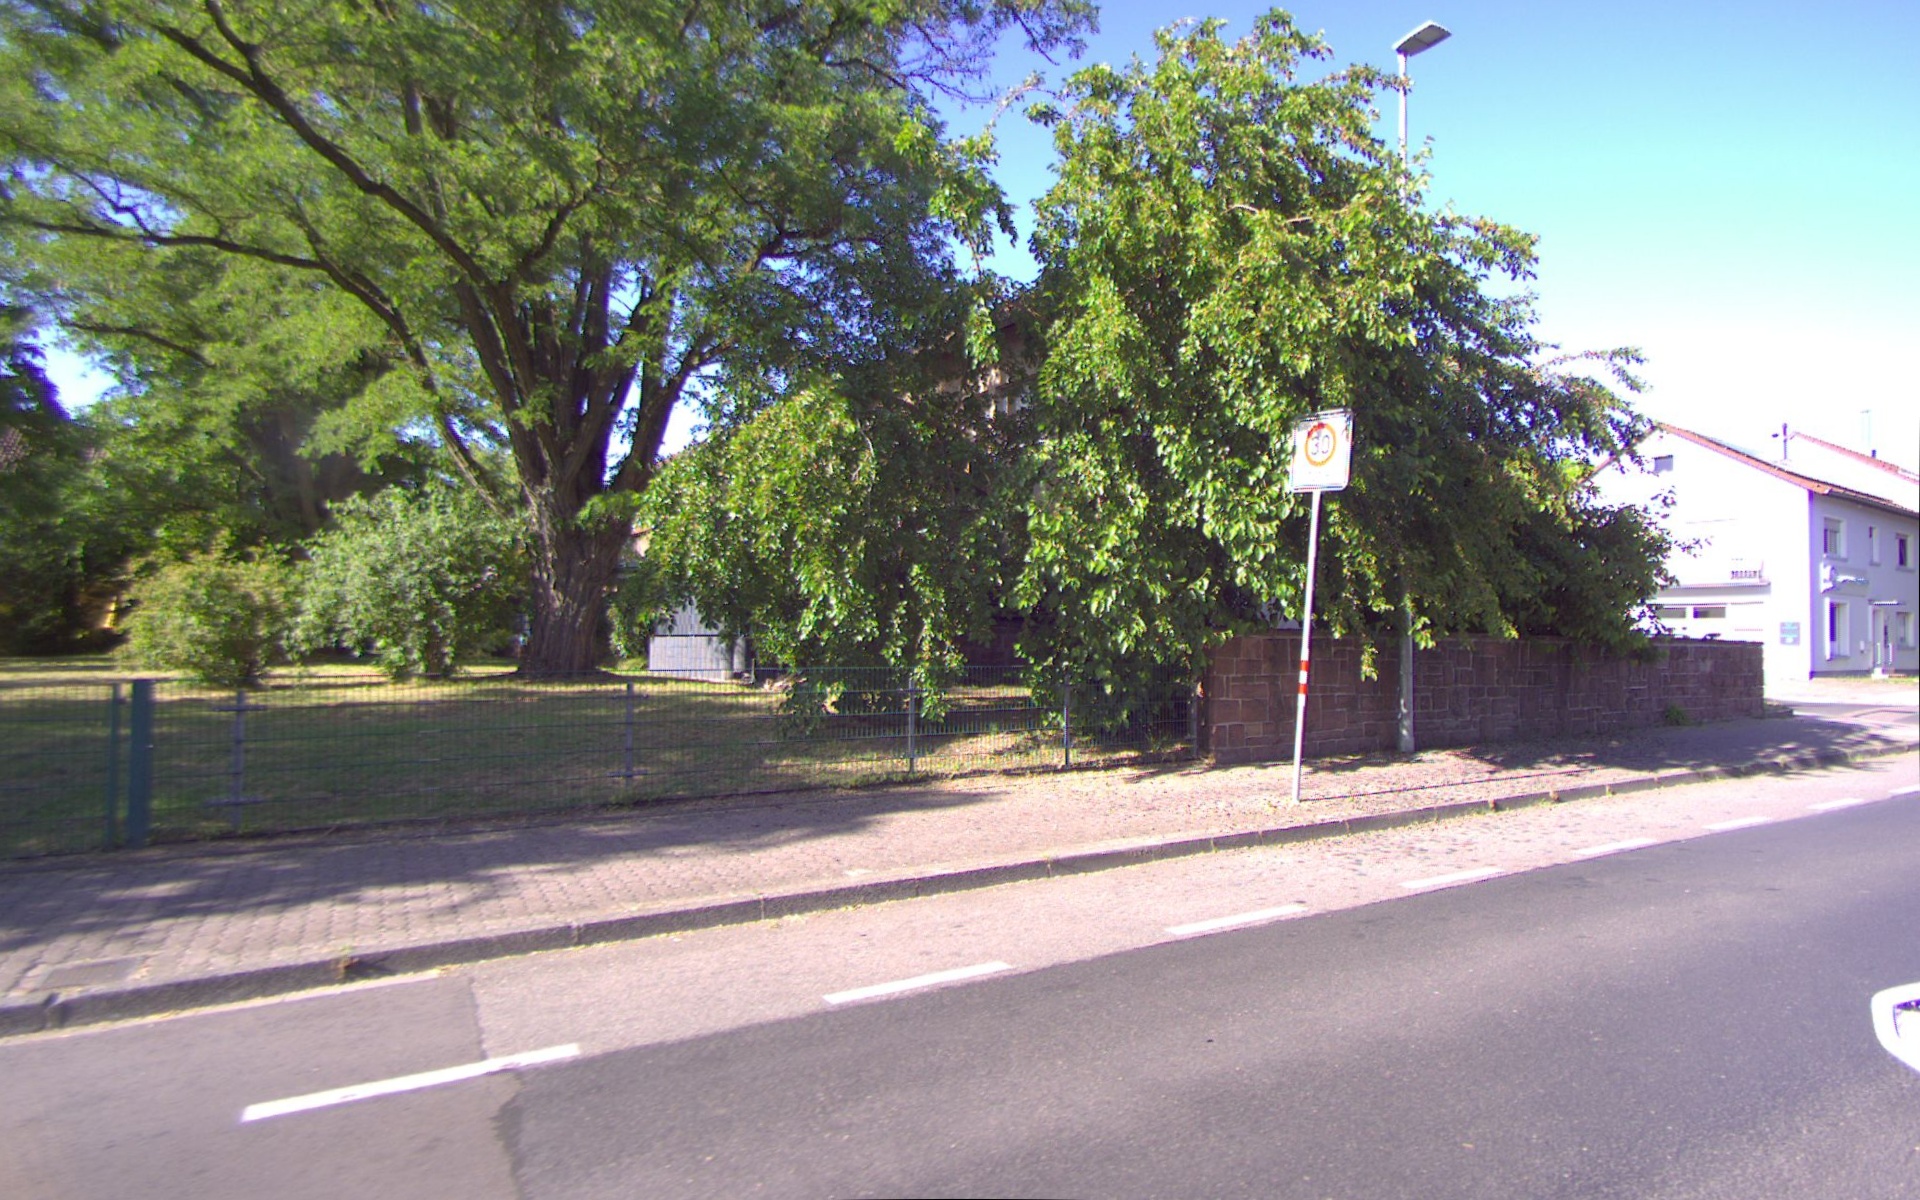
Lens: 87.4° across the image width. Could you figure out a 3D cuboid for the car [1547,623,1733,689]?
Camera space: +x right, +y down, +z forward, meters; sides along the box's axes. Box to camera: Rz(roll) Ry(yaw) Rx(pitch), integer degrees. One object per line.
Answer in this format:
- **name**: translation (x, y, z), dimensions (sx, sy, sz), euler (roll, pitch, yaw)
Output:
- **car**: translation (21.479, 1.716, 31.903), dimensions (1.978, 1.862, 4.464), euler (-2, -1, -32)
